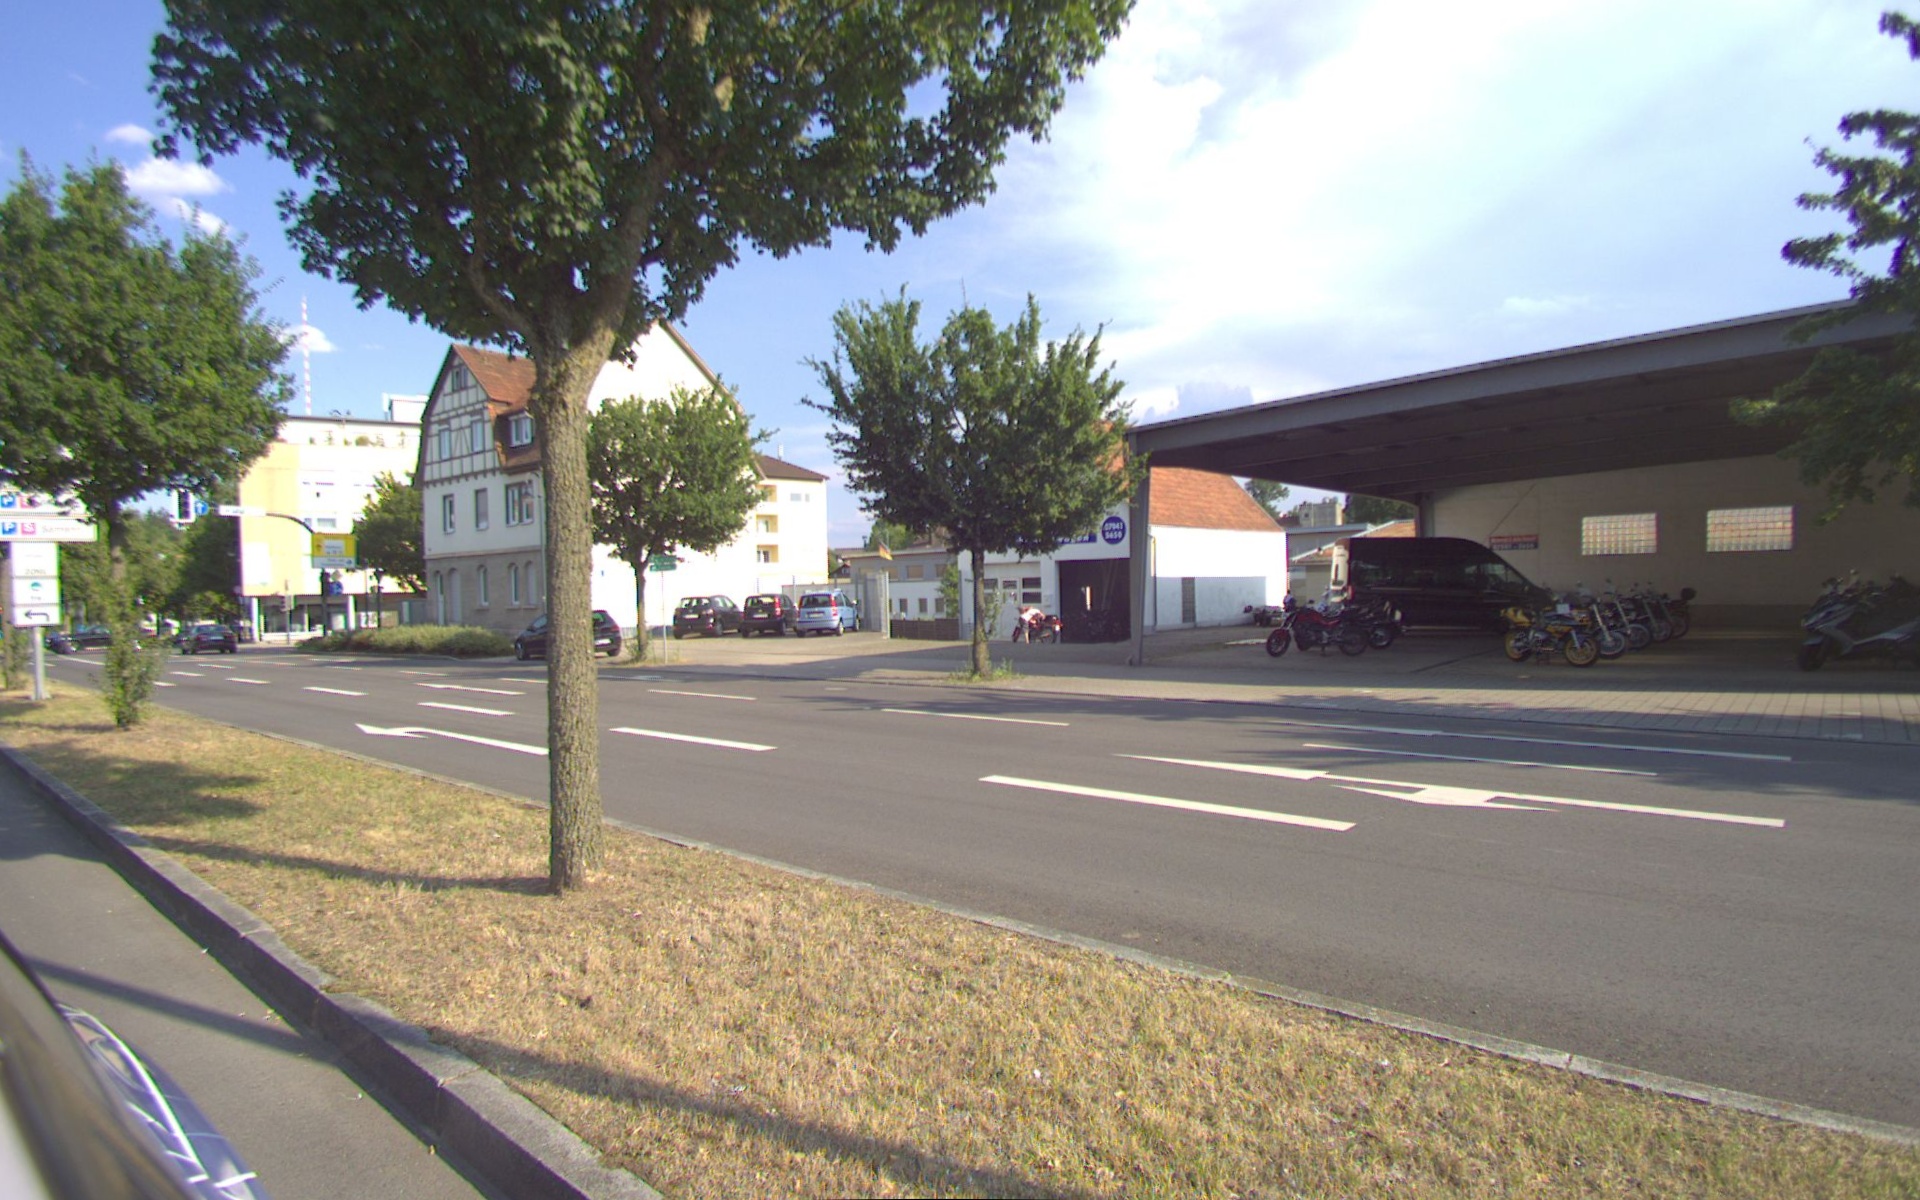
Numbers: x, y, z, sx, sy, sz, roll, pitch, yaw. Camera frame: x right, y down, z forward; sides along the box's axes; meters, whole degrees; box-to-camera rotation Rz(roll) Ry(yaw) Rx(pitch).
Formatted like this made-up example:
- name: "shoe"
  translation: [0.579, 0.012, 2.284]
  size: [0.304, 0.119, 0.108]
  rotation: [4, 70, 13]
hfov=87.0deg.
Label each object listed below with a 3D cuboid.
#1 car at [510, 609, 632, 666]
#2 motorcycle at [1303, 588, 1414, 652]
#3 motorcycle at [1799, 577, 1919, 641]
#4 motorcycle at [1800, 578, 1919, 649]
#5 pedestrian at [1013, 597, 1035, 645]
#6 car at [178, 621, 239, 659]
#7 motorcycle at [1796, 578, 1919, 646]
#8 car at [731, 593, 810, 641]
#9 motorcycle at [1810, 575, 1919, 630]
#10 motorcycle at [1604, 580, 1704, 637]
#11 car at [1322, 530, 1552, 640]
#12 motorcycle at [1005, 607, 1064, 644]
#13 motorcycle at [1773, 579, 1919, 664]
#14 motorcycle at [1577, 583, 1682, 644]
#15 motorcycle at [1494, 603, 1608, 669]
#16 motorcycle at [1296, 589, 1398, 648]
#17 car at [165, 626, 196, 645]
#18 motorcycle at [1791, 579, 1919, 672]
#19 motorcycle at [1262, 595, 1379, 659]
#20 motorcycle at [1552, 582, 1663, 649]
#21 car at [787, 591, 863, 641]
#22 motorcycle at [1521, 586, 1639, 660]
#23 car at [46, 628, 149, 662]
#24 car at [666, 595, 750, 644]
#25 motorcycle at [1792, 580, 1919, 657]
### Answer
- name: "car"
  translation: [-11.594, 1.075, 30.076]
  size: [3.823, 1.462, 1.795]
  rotation: [-1, 2, 42]
- name: "motorcycle"
  translation: [8.963, 0.446, 22.803]
  size: [2.198, 1.372, 0.630]
  rotation: [-1, 0, 5]
- name: "motorcycle"
  translation: [20.235, 0.203, 22.642]
  size: [2.103, 1.306, 0.628]
  rotation: [-3, -1, 18]
- name: "motorcycle"
  translation: [18.051, 0.266, 19.987]
  size: [2.103, 1.306, 0.628]
  rotation: [-3, -1, 18]
- name: "pedestrian"
  translation: [2.079, 0.671, 32.764]
  size: [0.485, 1.530, 0.496]
  rotation: [-1, 0, 41]
- name: "car"
  translation: [-36.429, 1.907, 49.019]
  size: [4.002, 1.706, 1.757]
  rotation: [-1, 0, 45]
- name: "motorcycle"
  translation: [19.041, 0.253, 21.288]
  size: [2.103, 1.306, 0.628]
  rotation: [-3, -1, 18]
- name: "car"
  translation: [-6.915, 0.580, 37.307]
  size: [1.797, 1.512, 3.819]
  rotation: [-3, 2, 5]
- name: "motorcycle"
  translation: [23.740, 0.069, 26.520]
  size: [2.103, 1.306, 0.628]
  rotation: [-3, -1, 18]
- name: "motorcycle"
  translation: [17.297, 0.216, 25.302]
  size: [0.621, 1.347, 2.269]
  rotation: [-1, 0, -9]
- name: "car"
  translation: [12.872, -0.382, 27.627]
  size: [5.221, 2.773, 1.996]
  rotation: [-1, 0, 7]
- name: "motorcycle"
  translation: [2.440, 0.834, 33.209]
  size: [1.974, 1.194, 0.577]
  rotation: [-1, 0, 41]
- name: "motorcycle"
  translation: [14.919, 0.358, 16.775]
  size: [2.103, 1.306, 0.628]
  rotation: [-3, -1, 18]
- name: "motorcycle"
  translation: [15.543, 0.298, 23.578]
  size: [0.621, 1.347, 2.269]
  rotation: [-1, 0, -9]
- name: "motorcycle"
  translation: [10.537, 0.615, 18.150]
  size: [0.621, 1.095, 2.038]
  rotation: [-1, 0, -7]
- name: "motorcycle"
  translation: [9.385, 0.448, 24.606]
  size: [2.198, 1.372, 0.630]
  rotation: [-1, 0, 5]
- name: "car"
  translation: [-73.564, 3.346, 95.560]
  size: [1.752, 1.706, 4.012]
  rotation: [-1, 0, -30]
- name: "motorcycle"
  translation: [13.867, 0.372, 15.114]
  size: [2.103, 1.306, 0.628]
  rotation: [-3, -1, 18]
- name: "motorcycle"
  translation: [7.503, 0.557, 21.159]
  size: [2.202, 1.290, 0.629]
  rotation: [-1, 0, 11]
- name: "motorcycle"
  translation: [13.870, 0.320, 21.768]
  size: [0.621, 1.347, 2.269]
  rotation: [-1, 0, -9]
- name: "car"
  translation: [-4.676, 0.515, 35.677]
  size: [1.797, 1.512, 3.819]
  rotation: [-3, 2, 5]
- name: "motorcycle"
  translation: [12.165, 0.434, 19.955]
  size: [0.621, 1.347, 2.269]
  rotation: [-1, 0, -9]
- name: "car"
  translation: [-46.534, 2.399, 54.650]
  size: [1.784, 1.687, 3.951]
  rotation: [-1, 0, 36]
- name: "car"
  translation: [-9.315, 0.685, 37.699]
  size: [1.797, 1.512, 3.819]
  rotation: [-3, 2, 5]
- name: "motorcycle"
  translation: [16.537, 0.336, 18.347]
  size: [2.103, 1.306, 0.628]
  rotation: [-3, -1, 18]
